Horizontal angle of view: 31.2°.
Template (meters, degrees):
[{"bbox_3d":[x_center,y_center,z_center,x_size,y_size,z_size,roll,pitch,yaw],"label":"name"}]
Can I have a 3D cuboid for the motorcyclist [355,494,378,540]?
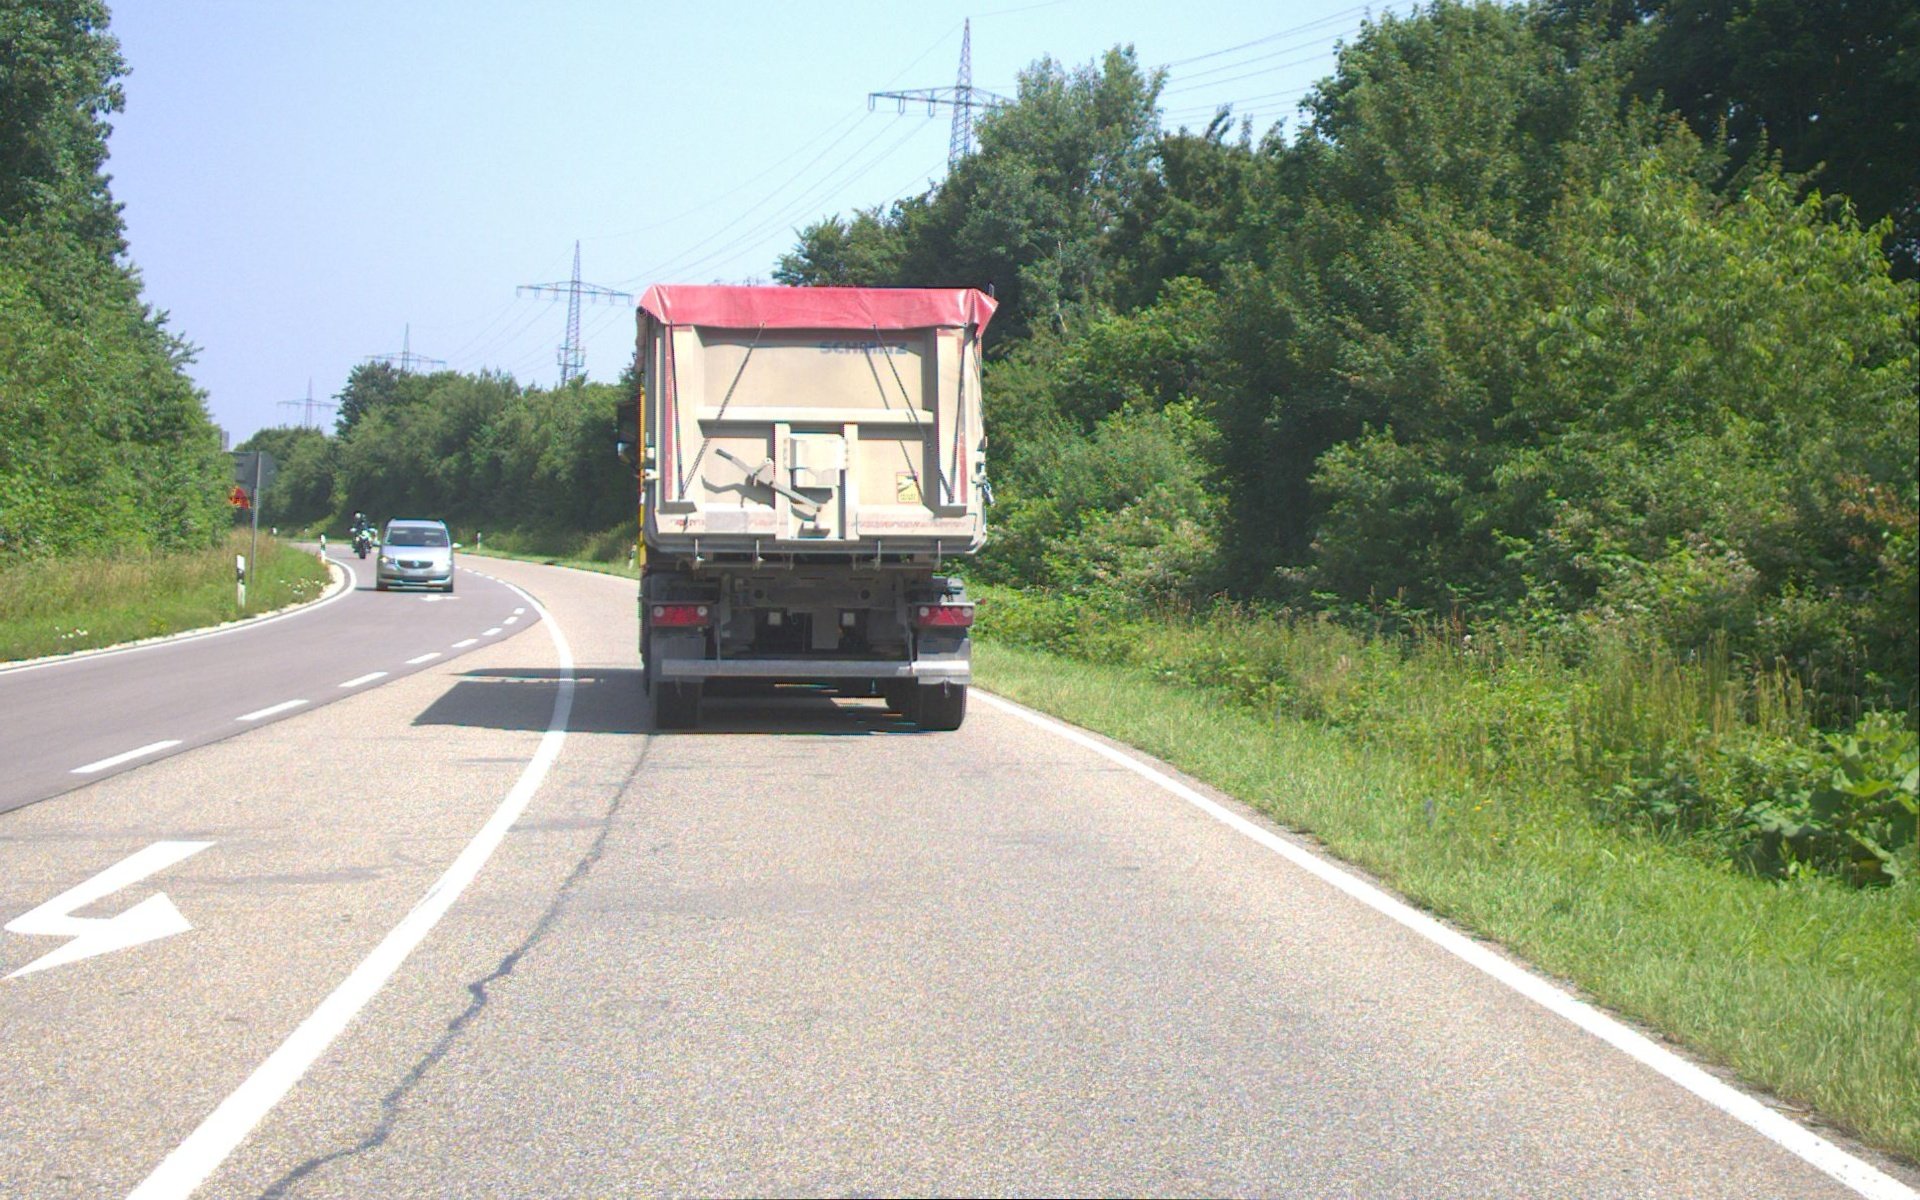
[{"bbox_3d":[-23.045,-3.232,133.524,0.830,1.746,0.623,1,1,-9],"label":"motorcyclist"}]

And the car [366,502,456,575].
[{"bbox_3d":[-12.755,-1.431,80.105,1.802,1.631,4.213,1,1,-6],"label":"car"}]

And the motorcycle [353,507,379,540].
[{"bbox_3d":[-23.011,-2.971,133.243,0.946,1.246,2.683,1,1,-9],"label":"motorcycle"}]

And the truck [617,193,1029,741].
[{"bbox_3d":[-1.589,-1.125,31.129,2.893,3.949,11.935,1,1,-6],"label":"truck"}]
